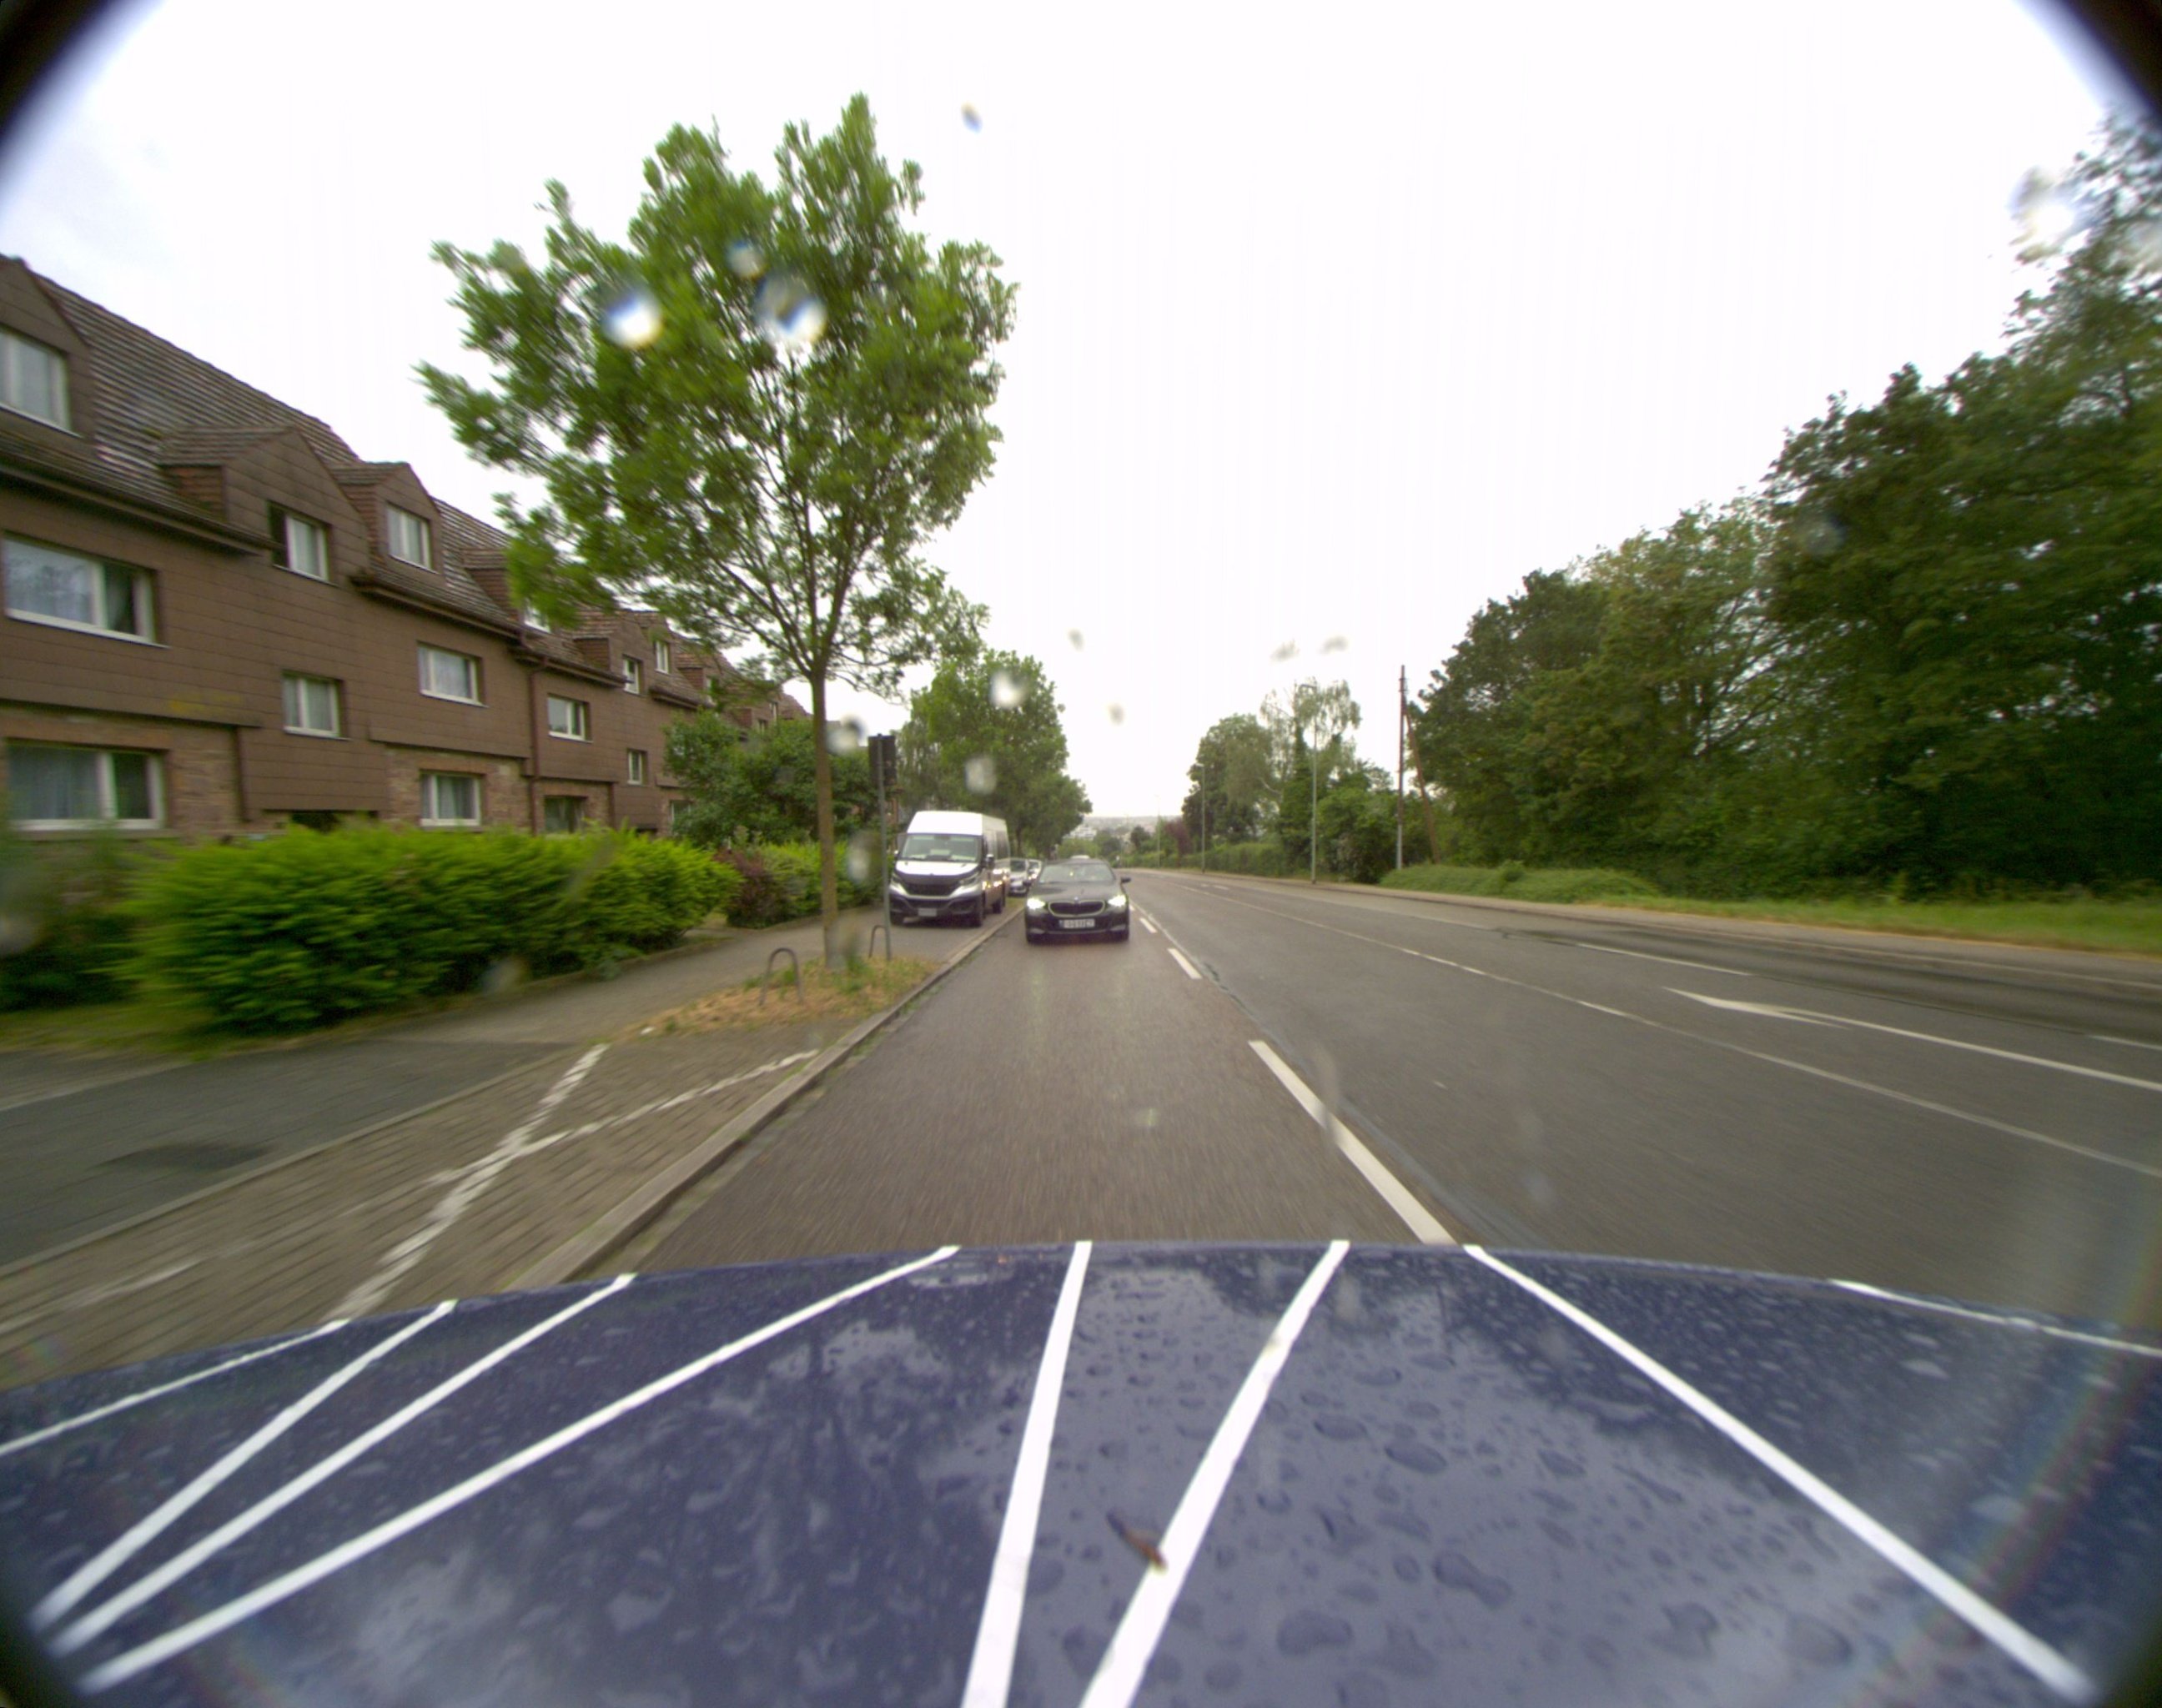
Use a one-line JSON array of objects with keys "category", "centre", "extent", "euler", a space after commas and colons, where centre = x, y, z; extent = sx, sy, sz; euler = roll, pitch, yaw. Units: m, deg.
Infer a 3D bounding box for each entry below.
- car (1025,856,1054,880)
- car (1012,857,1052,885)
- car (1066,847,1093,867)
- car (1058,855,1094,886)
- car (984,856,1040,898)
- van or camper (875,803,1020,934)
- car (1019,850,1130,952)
[{"category": "car", "centre": [-3.056, 1.032, 56.811], "extent": [1.829, 1.668, 4.584], "euler": [1, 0, 0]}, {"category": "car", "centre": [-2.918, 0.981, 46.238], "extent": [1.828, 1.593, 4.475], "euler": [1, 0, 3]}, {"category": "car", "centre": [-0.160, 0.254, 65.152], "extent": [1.999, 1.674, 4.172], "euler": [0, 0, -5]}, {"category": "car", "centre": [-0.300, 0.932, 44.148], "extent": [1.999, 1.674, 4.174], "euler": [0, 0, -1]}, {"category": "car", "centre": [-2.716, 0.875, 30.666], "extent": [1.672, 1.519, 3.832], "euler": [2, 0, 3]}, {"category": "van or camper", "centre": [-3.039, 0.329, 19.241], "extent": [2.203, 2.635, 7.302], "euler": [1, 0, 1]}, {"category": "car", "centre": [-0.118, 0.819, 15.121], "extent": [1.829, 1.668, 4.296], "euler": [-2, 0, 0]}]
